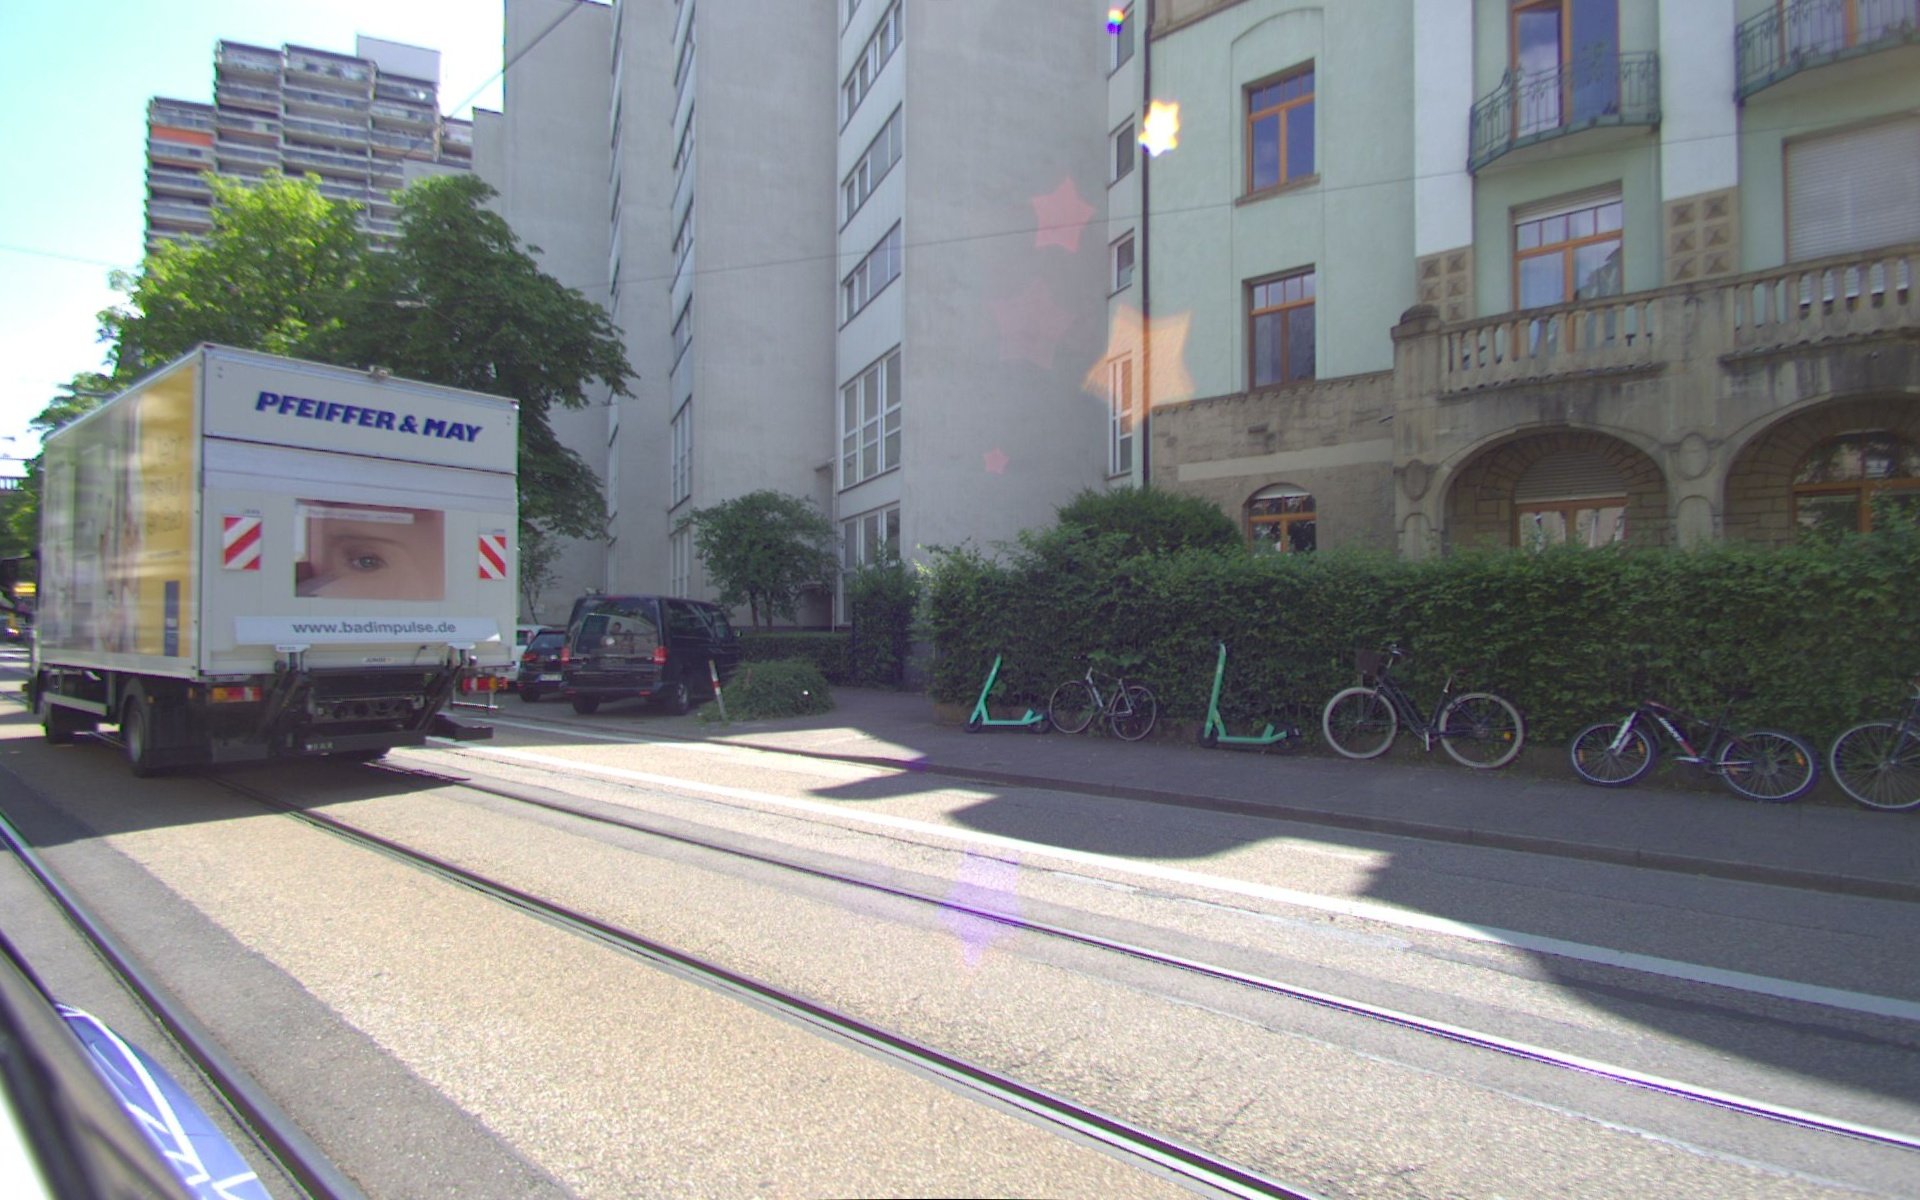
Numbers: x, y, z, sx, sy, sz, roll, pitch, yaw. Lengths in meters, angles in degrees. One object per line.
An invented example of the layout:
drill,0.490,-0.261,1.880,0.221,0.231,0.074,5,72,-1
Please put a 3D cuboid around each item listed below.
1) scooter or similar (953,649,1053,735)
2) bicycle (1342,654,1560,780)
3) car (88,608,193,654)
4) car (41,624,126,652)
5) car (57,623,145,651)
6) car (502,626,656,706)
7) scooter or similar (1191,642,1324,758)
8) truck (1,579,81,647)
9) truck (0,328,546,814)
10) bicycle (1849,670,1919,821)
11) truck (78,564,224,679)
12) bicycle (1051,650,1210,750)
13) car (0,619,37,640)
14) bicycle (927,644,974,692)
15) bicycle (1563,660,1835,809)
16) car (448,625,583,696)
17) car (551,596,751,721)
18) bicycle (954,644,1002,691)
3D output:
scooter or similar,0.539,1.148,12.877,1.217,1.028,0.403,-1,-2,26
bicycle,4.531,1.038,9.414,1.707,0.996,0.601,-1,2,41
car,-39.387,1.501,48.796,1.849,2.124,4.594,0,-2,-8
car,-47.396,2.032,54.810,1.657,1.465,3.679,0,-2,-5
car,-44.817,1.916,52.903,1.657,1.430,3.679,0,-2,-5
car,-7.636,1.273,20.679,1.659,1.465,3.944,0,-2,0
scooter or similar,3.108,1.018,10.648,1.291,1.128,0.401,-1,-2,43
truck,-61.381,0.936,67.825,2.633,4.212,10.498,1,-2,-35
truck,-8.055,-0.135,11.270,8.247,3.647,2.758,-1,-2,39
bicycle,7.259,1.025,6.901,1.771,0.983,0.601,-1,2,42
truck,-23.264,0.625,28.977,6.514,2.943,2.276,-1,-2,43
bicycle,1.937,1.114,11.650,1.707,0.996,0.601,-1,2,41
car,-83.515,2.565,88.163,1.977,1.821,4.318,0,-2,8
bicycle,-0.219,1.501,22.480,0.464,1.004,1.455,1,-2,-25
bicycle,5.905,1.029,8.154,1.707,0.996,0.601,-1,2,41
car,-9.918,1.303,22.859,1.700,1.465,3.631,0,-2,-5
car,-5.309,0.972,18.100,1.937,1.940,4.581,0,-2,4
bicycle,0.392,1.497,22.761,0.490,1.004,1.455,1,-2,-25
